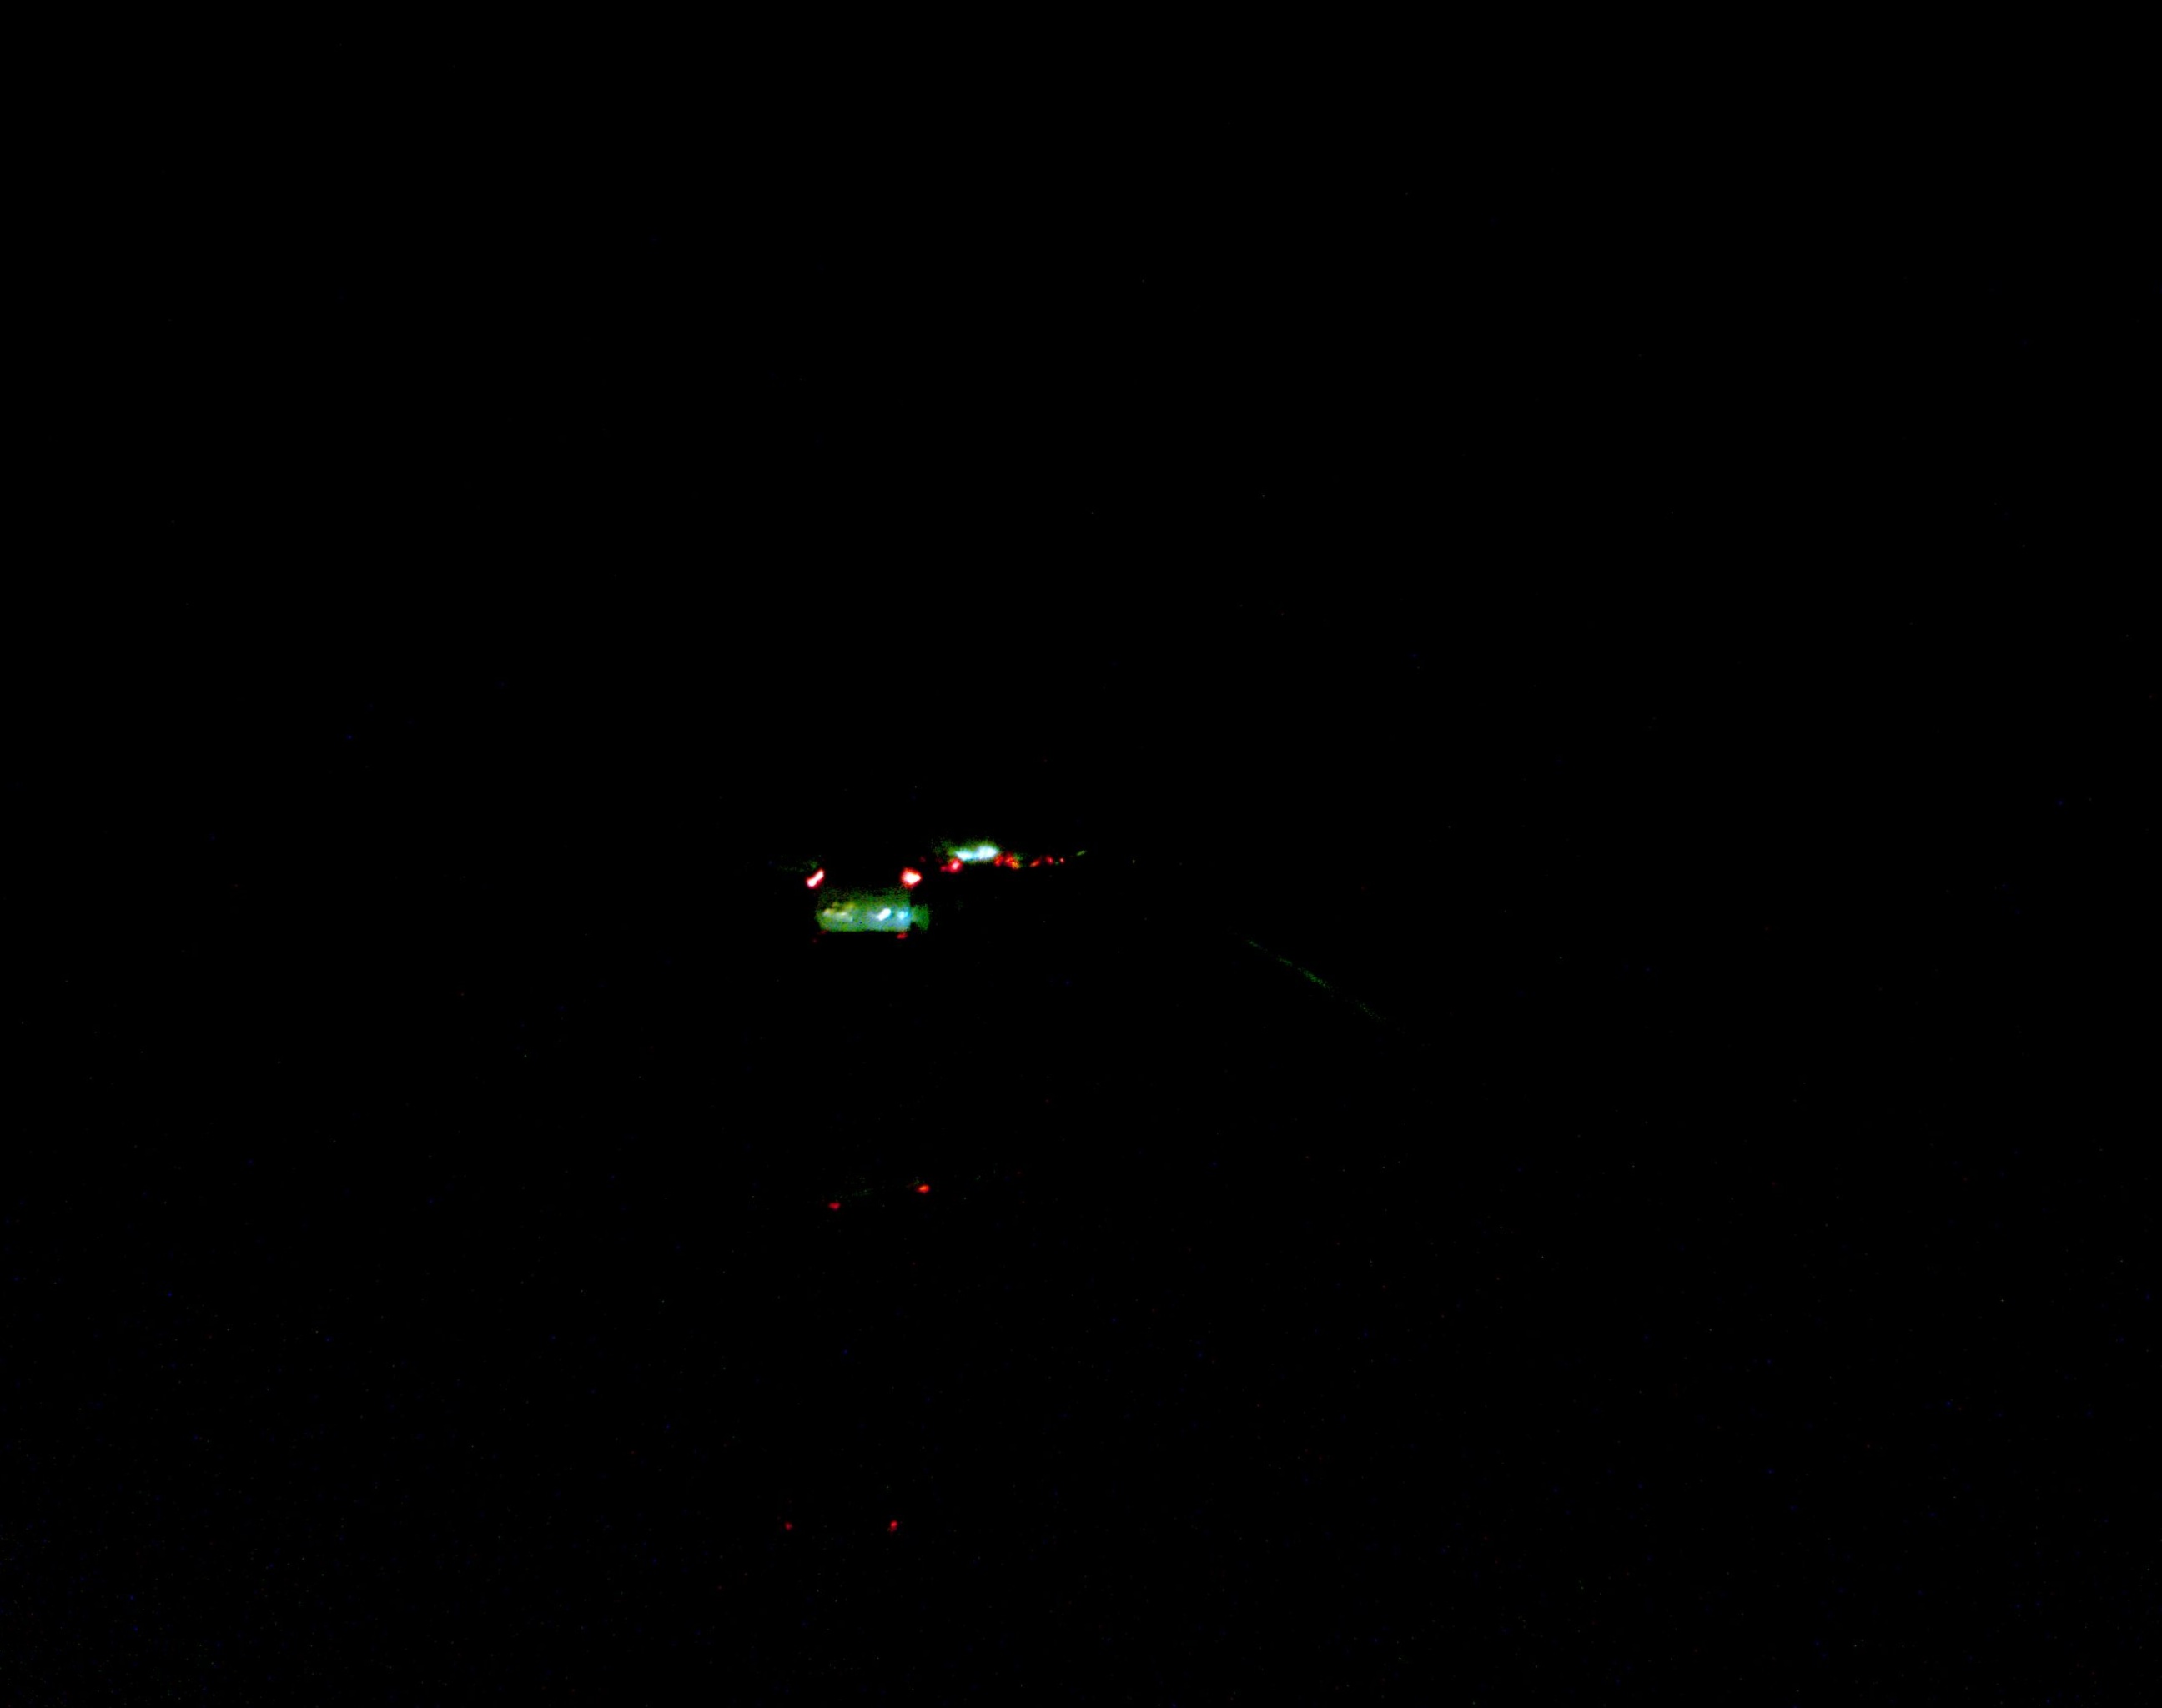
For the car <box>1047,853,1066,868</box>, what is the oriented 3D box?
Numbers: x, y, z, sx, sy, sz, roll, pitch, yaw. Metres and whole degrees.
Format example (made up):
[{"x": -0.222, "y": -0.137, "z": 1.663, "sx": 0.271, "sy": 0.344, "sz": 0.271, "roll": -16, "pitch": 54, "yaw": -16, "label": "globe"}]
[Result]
[{"x": -3.077, "y": 0.799, "z": 100.984, "sx": 1.991, "sy": 1.707, "sz": 4.186, "roll": 0, "pitch": -1, "yaw": -6, "label": "car"}]

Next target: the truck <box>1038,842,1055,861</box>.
[{"x": -9.257, "y": -0.504, "z": 215.865, "sx": 3.819, "sy": 4.915, "sz": 11.581, "roll": 0, "pitch": -1, "yaw": -6, "label": "truck"}]

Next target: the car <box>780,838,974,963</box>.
[{"x": -3.270, "y": 0.642, "z": 14.273, "sx": 1.946, "sy": 1.792, "sz": 5.126, "roll": 0, "pitch": 1, "yaw": 2, "label": "car"}]

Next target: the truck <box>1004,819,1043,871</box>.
[{"x": -6.783, "y": -0.910, "z": 93.939, "sx": 4.162, "sy": 5.544, "sz": 13.046, "roll": 0, "pitch": -1, "yaw": -6, "label": "truck"}]

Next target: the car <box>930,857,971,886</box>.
[{"x": -8.130, "y": 1.053, "z": 51.118, "sx": 1.988, "sy": 1.707, "sz": 4.193, "roll": 0, "pitch": -1, "yaw": -1, "label": "car"}]
